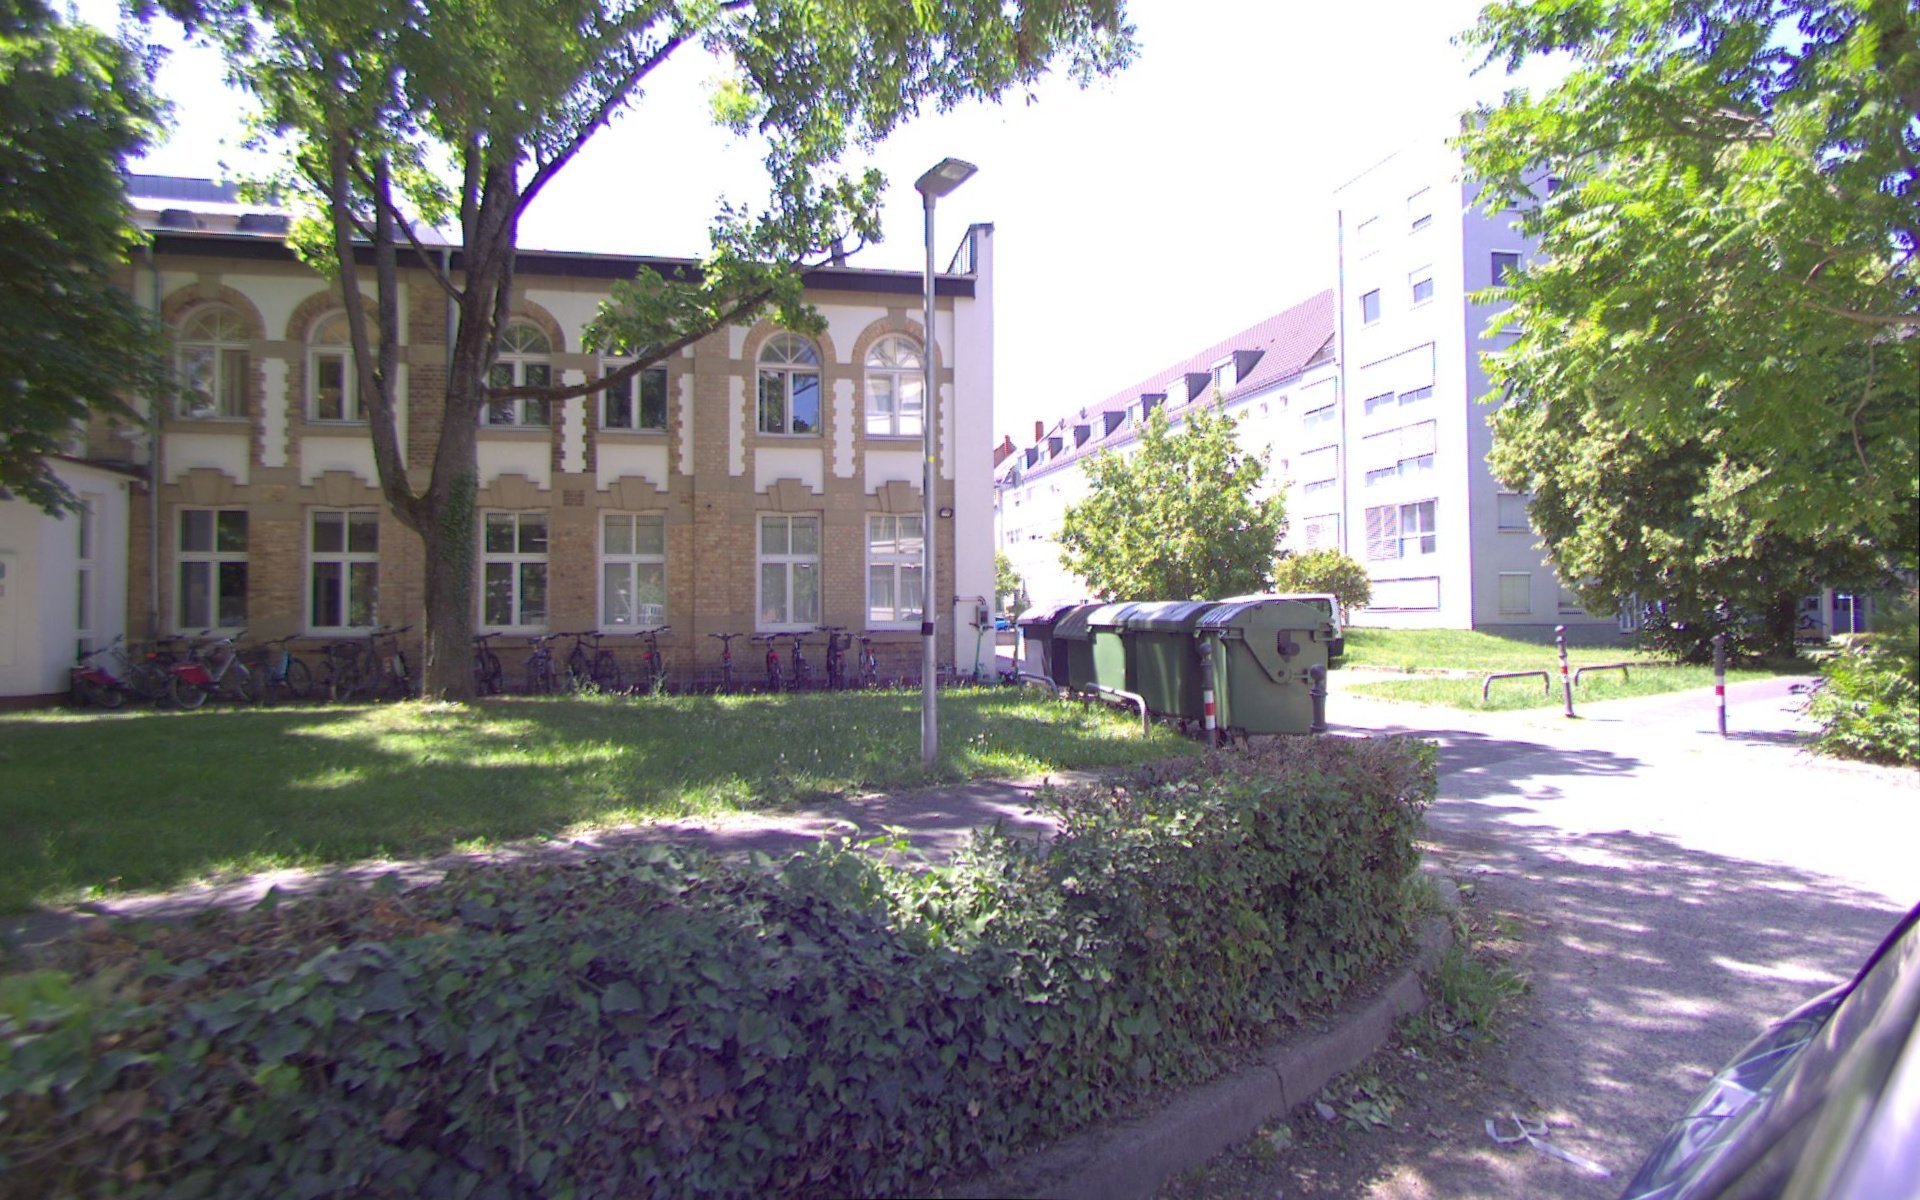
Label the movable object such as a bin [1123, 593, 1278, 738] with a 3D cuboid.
[{"bbox_3d":[2.627,0.671,11.211,1.158,1.488,1.314,-1,0,-16],"label":"movable object such as a bin"}]

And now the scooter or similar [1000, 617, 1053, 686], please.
[{"bbox_3d":[1.191,0.917,18.407,0.455,1.189,1.360,0,-1,-19],"label":"scooter or similar"}]

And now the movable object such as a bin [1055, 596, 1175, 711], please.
[{"bbox_3d":[2.116,0.698,13.995,1.158,1.488,1.314,-1,0,-17],"label":"movable object such as a bin"}]

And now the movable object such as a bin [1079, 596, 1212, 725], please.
[{"bbox_3d":[2.281,0.703,12.615,1.158,1.488,1.314,-1,0,-15],"label":"movable object such as a bin"}]

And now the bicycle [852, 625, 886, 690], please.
[{"bbox_3d":[-1.637,1.000,18.036,0.445,1.081,1.838,0,-1,-10],"label":"bicycle"}]

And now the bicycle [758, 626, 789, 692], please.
[{"bbox_3d":[-3.252,1.004,17.722,0.494,1.081,1.838,0,-1,-10],"label":"bicycle"}]

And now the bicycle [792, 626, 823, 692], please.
[{"bbox_3d":[-2.698,1.005,17.780,0.494,1.081,1.838,0,-1,-10],"label":"bicycle"}]

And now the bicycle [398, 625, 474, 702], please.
[{"bbox_3d":[-8.586,1.006,16.655,0.577,1.157,1.844,0,-1,-10],"label":"bicycle"}]

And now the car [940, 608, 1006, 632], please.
[{"bbox_3d":[0.884,1.373,68.761,4.082,1.573,1.863,0,-1,-15],"label":"car"}]

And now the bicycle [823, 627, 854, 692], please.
[{"bbox_3d":[-2.164,1.023,17.914,0.445,1.081,1.838,0,-1,-10],"label":"bicycle"}]

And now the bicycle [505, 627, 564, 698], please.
[{"bbox_3d":[-7.084,1.007,16.909,0.512,1.084,1.838,0,-1,-10],"label":"bicycle"}]

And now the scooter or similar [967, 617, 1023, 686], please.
[{"bbox_3d":[0.619,0.909,18.264,0.455,1.189,1.257,0,-1,-28],"label":"scooter or similar"}]

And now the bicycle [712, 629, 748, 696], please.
[{"bbox_3d":[-3.970,1.049,17.533,0.494,1.082,1.838,0,-1,-10],"label":"bicycle"}]

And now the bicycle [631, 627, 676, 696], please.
[{"bbox_3d":[-5.210,1.020,17.275,0.512,1.118,1.837,0,-2,-10],"label":"bicycle"}]

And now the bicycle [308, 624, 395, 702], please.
[{"bbox_3d":[-9.822,0.988,16.408,0.577,1.157,1.844,0,-1,-10],"label":"bicycle"}]

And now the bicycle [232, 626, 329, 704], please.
[{"bbox_3d":[-10.838,1.005,16.216,0.577,1.157,1.844,0,-1,-10],"label":"bicycle"}]

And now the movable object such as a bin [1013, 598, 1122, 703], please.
[{"bbox_3d":[1.642,0.734,15.675,1.134,1.524,1.465,-1,0,-20],"label":"movable object such as a bin"}]

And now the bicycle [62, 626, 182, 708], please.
[{"bbox_3d":[-12.889,1.002,15.629,0.577,1.157,1.844,0,-1,-10],"label":"bicycle"}]

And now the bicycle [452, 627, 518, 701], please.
[{"bbox_3d":[-7.824,1.023,16.745,0.512,1.114,1.844,0,-1,-10],"label":"bicycle"}]

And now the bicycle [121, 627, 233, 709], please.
[{"bbox_3d":[-12.175,1.024,15.799,0.577,1.157,1.844,0,-1,-10],"label":"bicycle"}]

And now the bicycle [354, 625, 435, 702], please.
[{"bbox_3d":[-9.199,0.998,16.538,0.577,1.157,1.844,0,-1,-10],"label":"bicycle"}]

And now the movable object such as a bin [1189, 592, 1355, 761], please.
[{"bbox_3d":[2.937,0.680,9.700,1.160,1.488,1.333,-1,0,1],"label":"movable object such as a bin"}]

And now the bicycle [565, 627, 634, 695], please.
[{"bbox_3d":[-6.210,1.023,17.378,0.464,1.118,1.831,1,-2,-42],"label":"bicycle"}]

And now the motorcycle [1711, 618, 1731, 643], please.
[{"bbox_3d":[38.274,1.524,50.911,0.697,1.183,2.278,-1,-1,39],"label":"motorcycle"}]

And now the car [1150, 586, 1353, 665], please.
[{"bbox_3d":[7.572,0.673,26.395,4.703,1.936,2.003,0,-2,-15],"label":"car"}]

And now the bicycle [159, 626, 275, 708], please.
[{"bbox_3d":[-11.454,1.001,15.680,0.578,1.157,1.843,0,-1,-5],"label":"bicycle"}]
